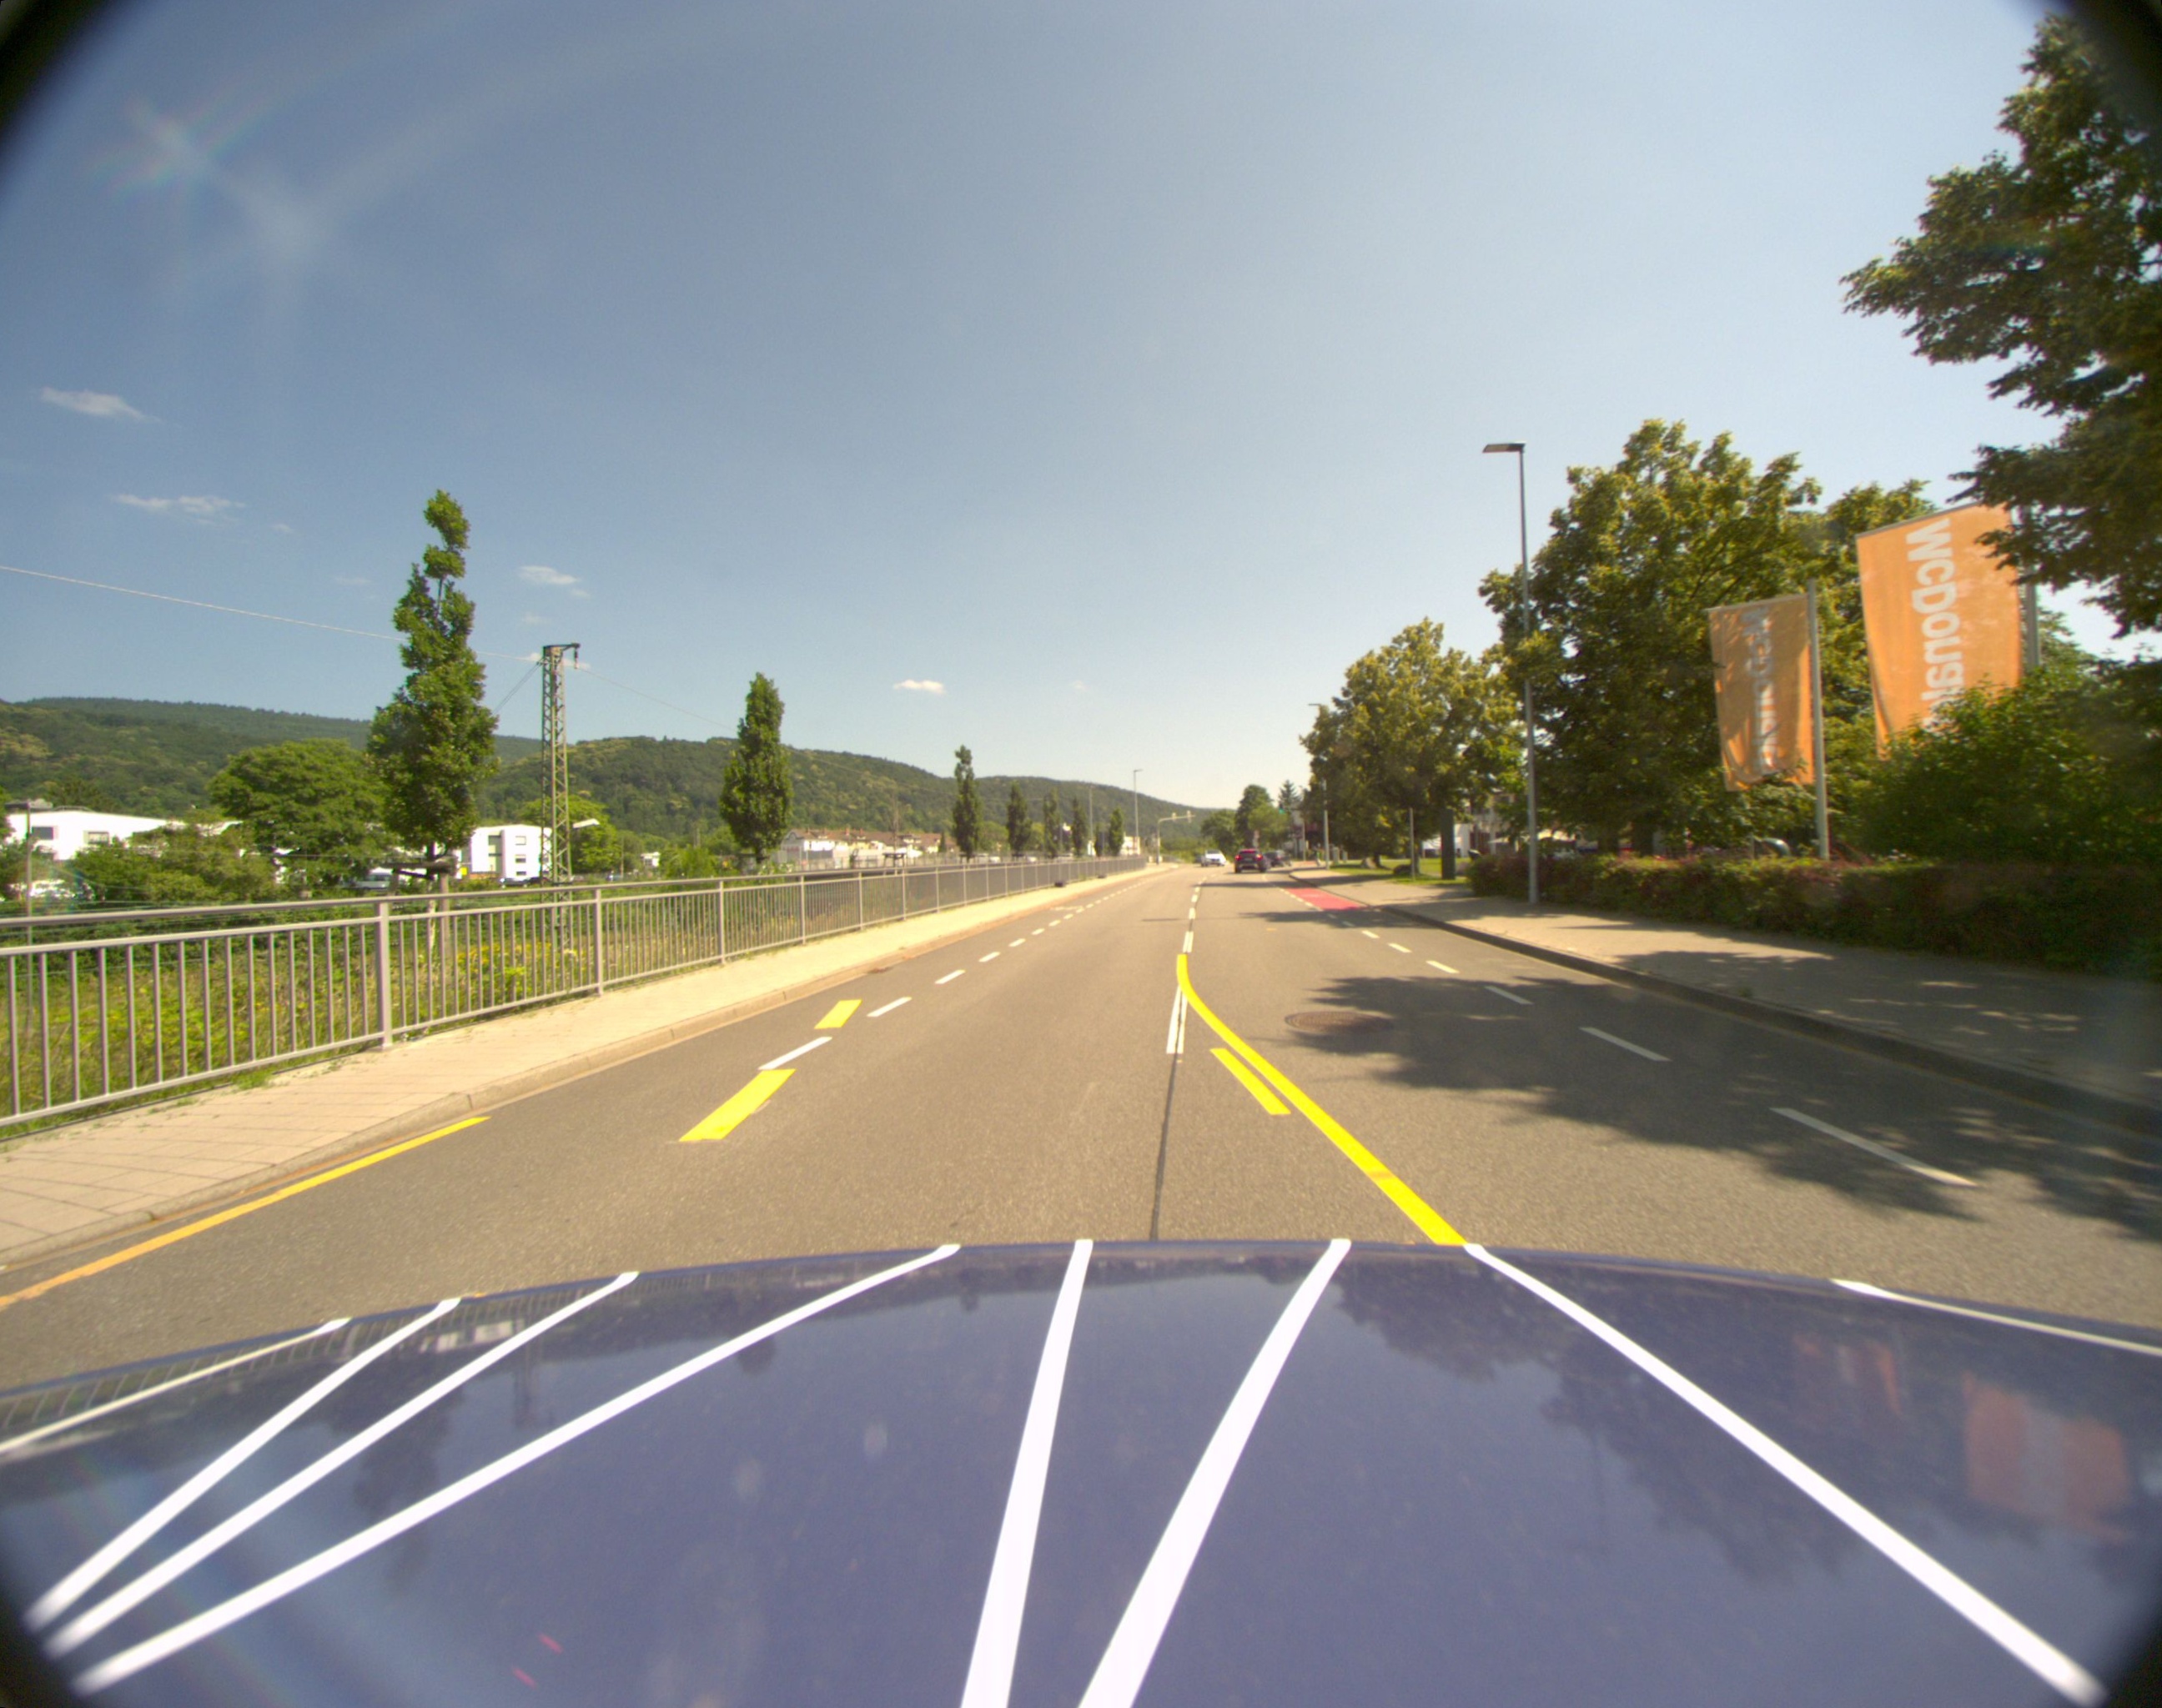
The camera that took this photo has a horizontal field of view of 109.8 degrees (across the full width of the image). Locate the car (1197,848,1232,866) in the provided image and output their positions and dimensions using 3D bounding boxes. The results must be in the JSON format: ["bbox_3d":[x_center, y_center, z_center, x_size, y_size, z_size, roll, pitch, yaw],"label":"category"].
[{"bbox_3d":[13.492,0.282,77.068,2.000,1.709,4.629,-2,0,-10],"label":"car"}]

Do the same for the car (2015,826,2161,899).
[{"bbox_3d":[26.090,0.176,18.271,1.719,1.725,4.243,-2,0,-13],"label":"car"}]

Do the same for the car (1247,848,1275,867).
[{"bbox_3d":[14.266,0.272,60.081,1.657,1.373,4.006,-1,0,21],"label":"car"}]

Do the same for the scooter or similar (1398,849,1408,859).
[{"bbox_3d":[36.946,0.043,87.209,0.499,1.117,1.507,-1,1,44],"label":"scooter or similar"}]

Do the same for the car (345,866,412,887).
[{"bbox_3d":[-77.272,2.501,83.692,1.996,2.100,4.997,-1,0,17],"label":"car"}]

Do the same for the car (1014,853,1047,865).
[{"bbox_3d":[-7.097,0.716,106.392,4.430,1.617,1.740,-2,1,38],"label":"car"}]

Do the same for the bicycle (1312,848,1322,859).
[{"bbox_3d":[22.873,-0.063,73.672,0.697,1.098,1.758,0,1,24],"label":"bicycle"}]

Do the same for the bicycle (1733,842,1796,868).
[{"bbox_3d":[27.458,0.058,30.568,1.853,0.986,0.309,-1,1,38],"label":"bicycle"}]

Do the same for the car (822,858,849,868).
[{"bbox_3d":[-41.798,1.535,129.416,4.431,1.616,1.741,-3,-3,31],"label":"car"}]

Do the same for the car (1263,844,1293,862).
[{"bbox_3d":[17.451,-0.110,67.267,1.781,1.488,4.730,-1,0,24],"label":"car"}]

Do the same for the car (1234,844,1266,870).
[{"bbox_3d":[11.579,0.183,51.869,1.953,1.685,4.618,-1,0,15],"label":"car"}]

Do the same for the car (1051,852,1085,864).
[{"bbox_3d":[-1.777,0.571,101.923,4.398,1.461,1.740,-2,1,38],"label":"car"}]

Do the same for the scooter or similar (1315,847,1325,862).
[{"bbox_3d":[18.611,0.049,59.066,0.472,1.177,1.368,-1,0,28],"label":"scooter or similar"}]

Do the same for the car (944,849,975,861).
[{"bbox_3d":[-18.107,0.186,113.292,4.431,1.617,1.740,-2,0,29],"label":"car"}]

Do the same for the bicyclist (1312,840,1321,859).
[{"bbox_3d":[22.852,-0.456,73.706,0.711,1.778,0.810,-1,1,25],"label":"bicyclist"}]

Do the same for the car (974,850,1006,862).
[{"bbox_3d":[-13.267,0.280,110.557,4.430,1.617,1.740,-2,1,32],"label":"car"}]
